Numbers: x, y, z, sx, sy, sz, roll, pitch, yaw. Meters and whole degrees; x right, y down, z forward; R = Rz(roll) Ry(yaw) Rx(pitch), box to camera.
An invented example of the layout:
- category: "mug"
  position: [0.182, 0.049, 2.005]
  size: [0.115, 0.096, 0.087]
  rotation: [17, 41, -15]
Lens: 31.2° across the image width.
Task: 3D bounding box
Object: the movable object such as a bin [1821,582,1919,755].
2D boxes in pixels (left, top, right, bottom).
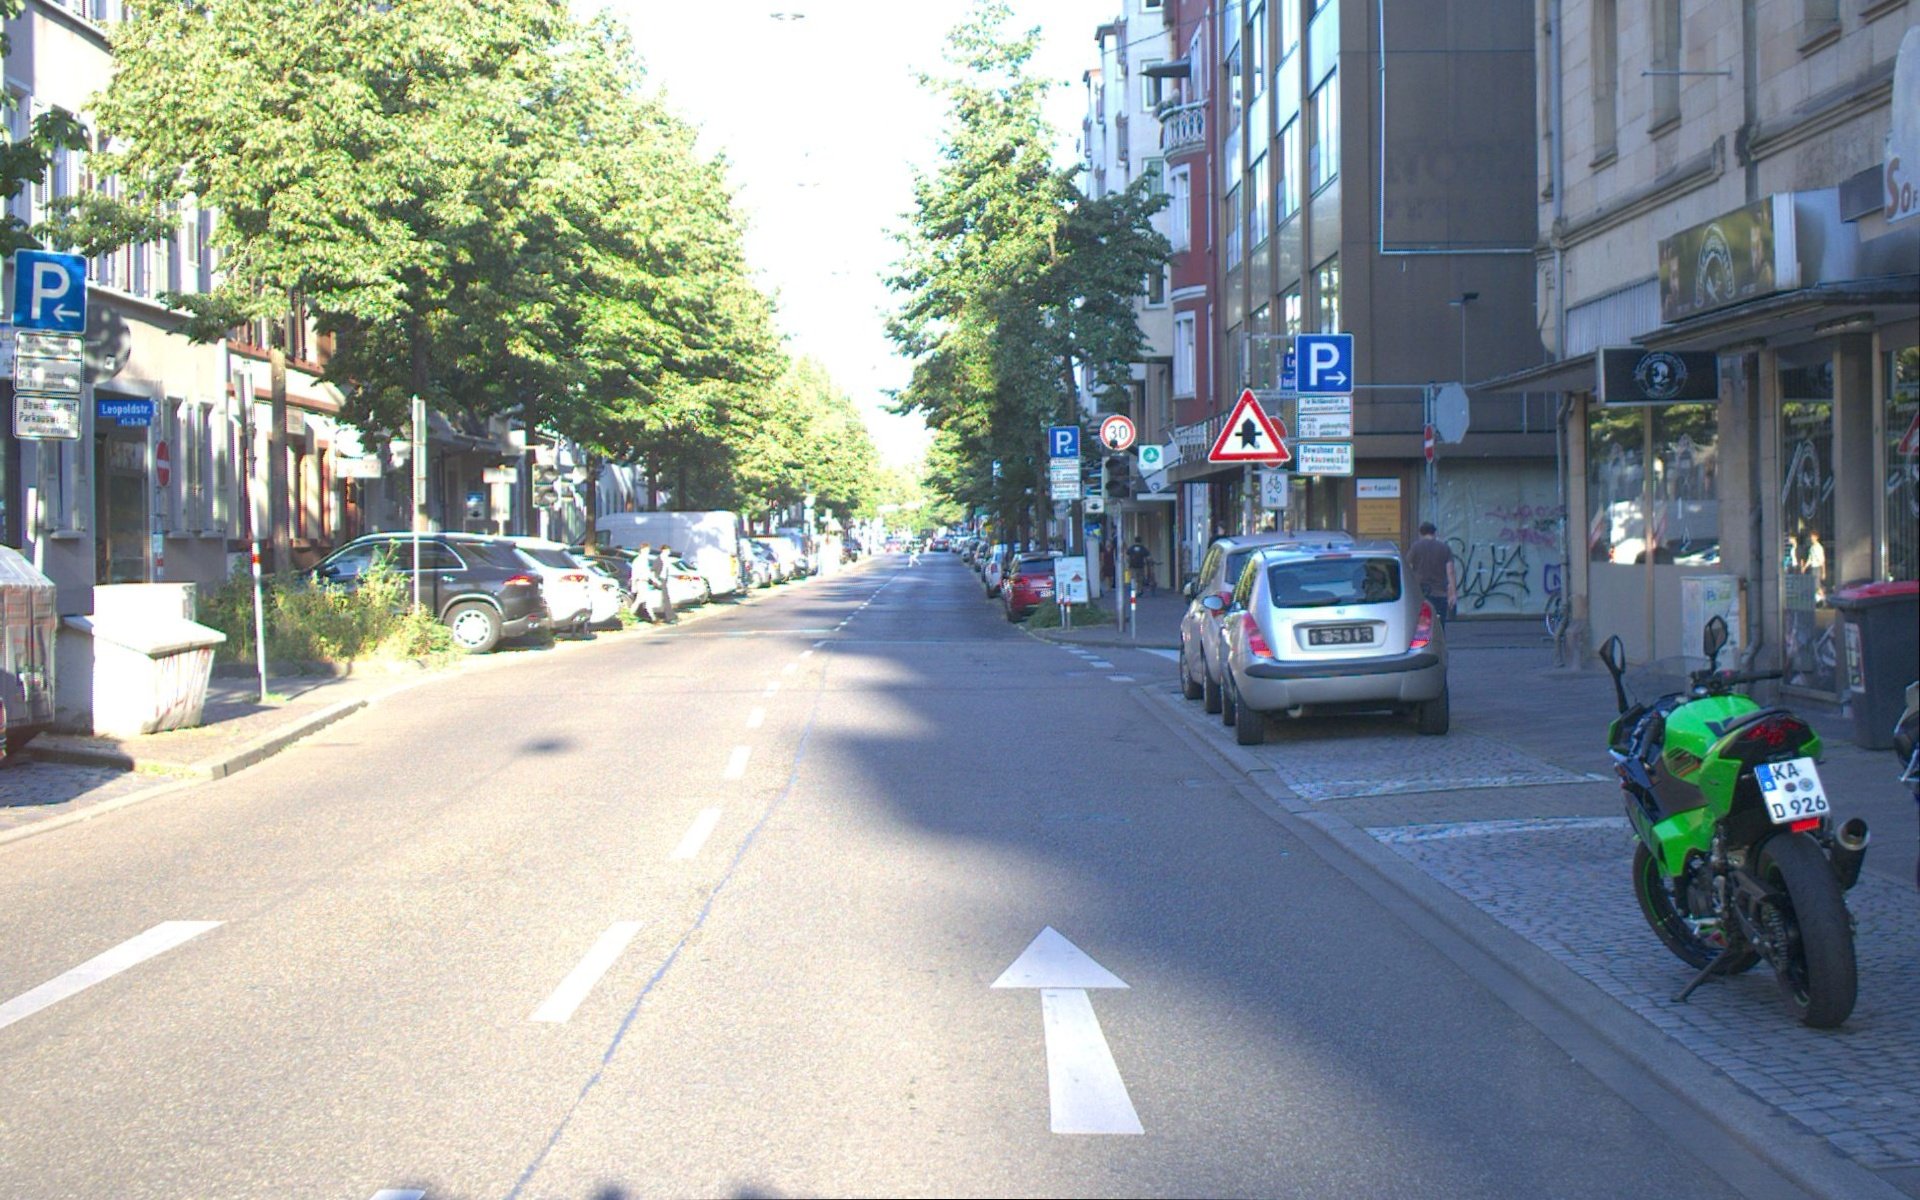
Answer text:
- category: "movable object such as a bin"
  position: [5.949, 0.435, 22.215]
  size: [0.596, 1.081, 0.664]
  rotation: [1, 1, 1]

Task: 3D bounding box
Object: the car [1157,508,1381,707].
- category: "car"
  position: [2.879, 0.011, 32.742]
  size: [1.696, 1.763, 4.000]
  rotation: [-1, 1, -1]

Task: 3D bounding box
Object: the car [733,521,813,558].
- category: "car"
  position: [-8.908, -2.909, 164.135]
  size: [3.739, 1.702, 2.000]
  rotation: [1, 1, -1]

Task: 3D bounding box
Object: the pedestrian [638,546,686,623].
- category: "pedestrian"
  position: [-6.536, -0.342, 75.400]
  size: [0.721, 1.677, 0.757]
  rotation: [1, 1, -40]

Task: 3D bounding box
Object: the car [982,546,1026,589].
- category: "car"
  position: [1.359, -1.015, 106.857]
  size: [1.206, 1.296, 2.661]
  rotation: [0, 0, -3]

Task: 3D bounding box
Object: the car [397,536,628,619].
- category: "car"
  position: [-8.564, -0.434, 66.079]
  size: [4.175, 1.502, 2.000]
  rotation: [1, 1, -1]

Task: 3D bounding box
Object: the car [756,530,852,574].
- category: "car"
  position: [-6.224, -1.924, 137.657]
  size: [3.739, 1.702, 2.000]
  rotation: [1, 1, -1]

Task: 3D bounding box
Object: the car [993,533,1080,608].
- category: "car"
  position: [1.644, -0.646, 74.770]
  size: [1.576, 1.537, 3.397]
  rotation: [-2, 1, -3]

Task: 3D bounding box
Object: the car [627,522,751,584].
- category: "car"
  position: [-8.502, -1.497, 108.208]
  size: [3.739, 1.852, 2.000]
  rotation: [1, 1, -1]

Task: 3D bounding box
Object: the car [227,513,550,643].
- category: "car"
  position: [-8.453, -0.305, 51.138]
  size: [4.448, 1.829, 2.034]
  rotation: [1, -1, -1]

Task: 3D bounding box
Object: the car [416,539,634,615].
- category: "car"
  position: [-9.287, -0.500, 73.616]
  size: [4.426, 1.594, 2.000]
  rotation: [0, 1, -1]

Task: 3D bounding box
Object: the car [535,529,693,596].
- category: "car"
  position: [-8.650, -0.939, 86.188]
  size: [3.739, 1.590, 2.000]
  rotation: [1, 1, -1]

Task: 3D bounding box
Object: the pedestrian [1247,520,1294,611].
- category: "pedestrian"
  position: [5.799, -0.645, 64.186]
  size: [0.765, 1.683, 0.786]
  rotation: [-1, 1, -3]

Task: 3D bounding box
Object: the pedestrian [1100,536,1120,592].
- category: "pedestrian"
  position: [4.413, -1.062, 101.088]
  size: [0.534, 1.616, 0.534]
  rotation: [1, 1, 0]

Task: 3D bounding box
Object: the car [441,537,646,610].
- category: "car"
  position: [-9.486, -0.608, 78.555]
  size: [4.426, 1.498, 2.000]
  rotation: [2, 1, -1]

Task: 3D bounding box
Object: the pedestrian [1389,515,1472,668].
- category: "pedestrian"
  position: [5.510, -0.110, 40.303]
  size: [0.755, 1.761, 1.222]
  rotation: [1, 1, -1]

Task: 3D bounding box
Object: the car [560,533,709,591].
- category: "car"
  position: [-8.610, -1.016, 91.176]
  size: [3.739, 1.445, 2.000]
  rotation: [1, 1, -1]

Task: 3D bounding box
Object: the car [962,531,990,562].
- category: "car"
  position: [0.828, -2.747, 177.729]
  size: [1.308, 1.594, 2.661]
  rotation: [0, 0, -3]

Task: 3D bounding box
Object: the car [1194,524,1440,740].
- category: "car"
  position: [2.841, 0.199, 28.034]
  size: [1.680, 1.556, 4.000]
  rotation: [-2, 2, 2]

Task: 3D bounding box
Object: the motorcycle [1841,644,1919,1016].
- category: "motorcycle"
  position: [3.273, 0.736, 10.450]
  size: [0.588, 1.119, 2.210]
  rotation: [0, 1, -1]

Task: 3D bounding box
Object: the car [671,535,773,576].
- category: "car"
  position: [-9.010, -1.689, 130.366]
  size: [3.739, 1.487, 2.000]
  rotation: [1, 1, -1]

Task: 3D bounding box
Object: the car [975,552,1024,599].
- category: "car"
  position: [1.110, -0.701, 96.595]
  size: [1.206, 1.296, 2.661]
  rotation: [0, 0, -3]

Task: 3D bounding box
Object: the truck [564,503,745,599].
- category: "truck"
  position: [-8.647, -1.392, 97.535]
  size: [4.940, 2.606, 2.000]
  rotation: [1, 1, -1]

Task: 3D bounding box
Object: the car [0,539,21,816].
- category: "car"
  position: [-7.262, 0.424, 18.307]
  size: [3.987, 1.480, 2.000]
  rotation: [-1, 1, -29]

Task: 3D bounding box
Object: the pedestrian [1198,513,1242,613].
- category: "pedestrian"
  position: [4.848, -0.692, 64.219]
  size: [0.714, 1.859, 0.680]
  rotation: [-1, 1, -3]

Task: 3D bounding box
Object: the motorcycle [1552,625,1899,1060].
- category: "motorcycle"
  position: [2.450, 0.725, 11.254]
  size: [0.588, 1.196, 2.210]
  rotation: [-2, 1, -1]

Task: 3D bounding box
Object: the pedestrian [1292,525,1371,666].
- category: "pedestrian"
  position: [4.425, -0.067, 41.008]
  size: [0.755, 1.635, 1.259]
  rotation: [1, 1, -1]

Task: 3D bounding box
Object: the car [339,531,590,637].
- category: "car"
  position: [-8.344, -0.277, 58.114]
  size: [3.989, 1.702, 1.833]
  rotation: [1, 1, -1]
